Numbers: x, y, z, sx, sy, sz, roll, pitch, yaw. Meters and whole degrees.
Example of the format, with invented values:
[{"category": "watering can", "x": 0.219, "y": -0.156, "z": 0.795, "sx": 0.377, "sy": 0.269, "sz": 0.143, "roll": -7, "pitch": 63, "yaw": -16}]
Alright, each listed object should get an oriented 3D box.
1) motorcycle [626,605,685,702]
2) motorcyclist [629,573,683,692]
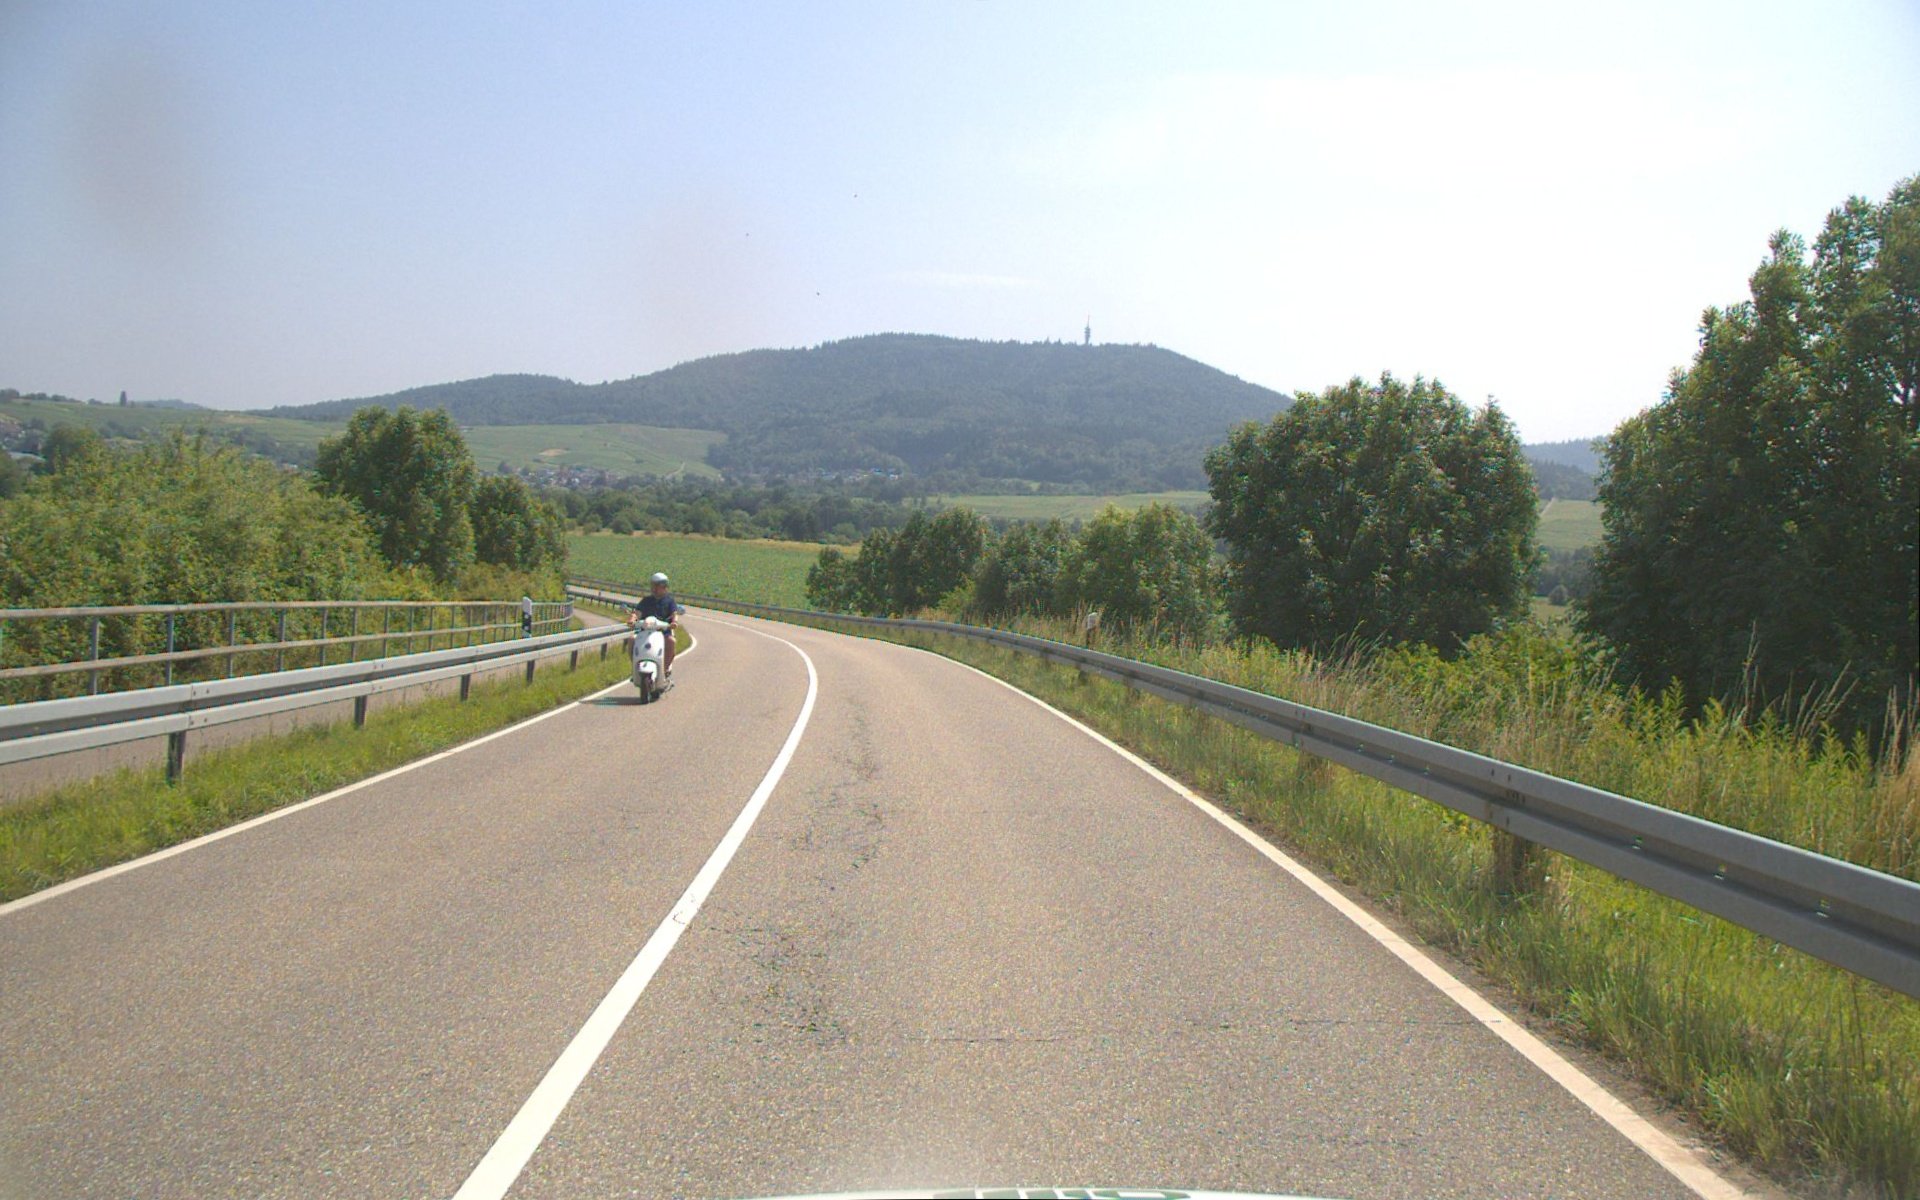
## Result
[{"category": "motorcycle", "x": -4.105, "y": 0.694, "z": 22.375, "sx": 0.630, "sy": 1.245, "sz": 1.636, "roll": 0, "pitch": 0, "yaw": -5}, {"category": "motorcyclist", "x": -4.133, "y": 0.430, "z": 22.489, "sx": 0.641, "sy": 1.590, "sz": 0.774, "roll": 0, "pitch": 0, "yaw": -5}]
